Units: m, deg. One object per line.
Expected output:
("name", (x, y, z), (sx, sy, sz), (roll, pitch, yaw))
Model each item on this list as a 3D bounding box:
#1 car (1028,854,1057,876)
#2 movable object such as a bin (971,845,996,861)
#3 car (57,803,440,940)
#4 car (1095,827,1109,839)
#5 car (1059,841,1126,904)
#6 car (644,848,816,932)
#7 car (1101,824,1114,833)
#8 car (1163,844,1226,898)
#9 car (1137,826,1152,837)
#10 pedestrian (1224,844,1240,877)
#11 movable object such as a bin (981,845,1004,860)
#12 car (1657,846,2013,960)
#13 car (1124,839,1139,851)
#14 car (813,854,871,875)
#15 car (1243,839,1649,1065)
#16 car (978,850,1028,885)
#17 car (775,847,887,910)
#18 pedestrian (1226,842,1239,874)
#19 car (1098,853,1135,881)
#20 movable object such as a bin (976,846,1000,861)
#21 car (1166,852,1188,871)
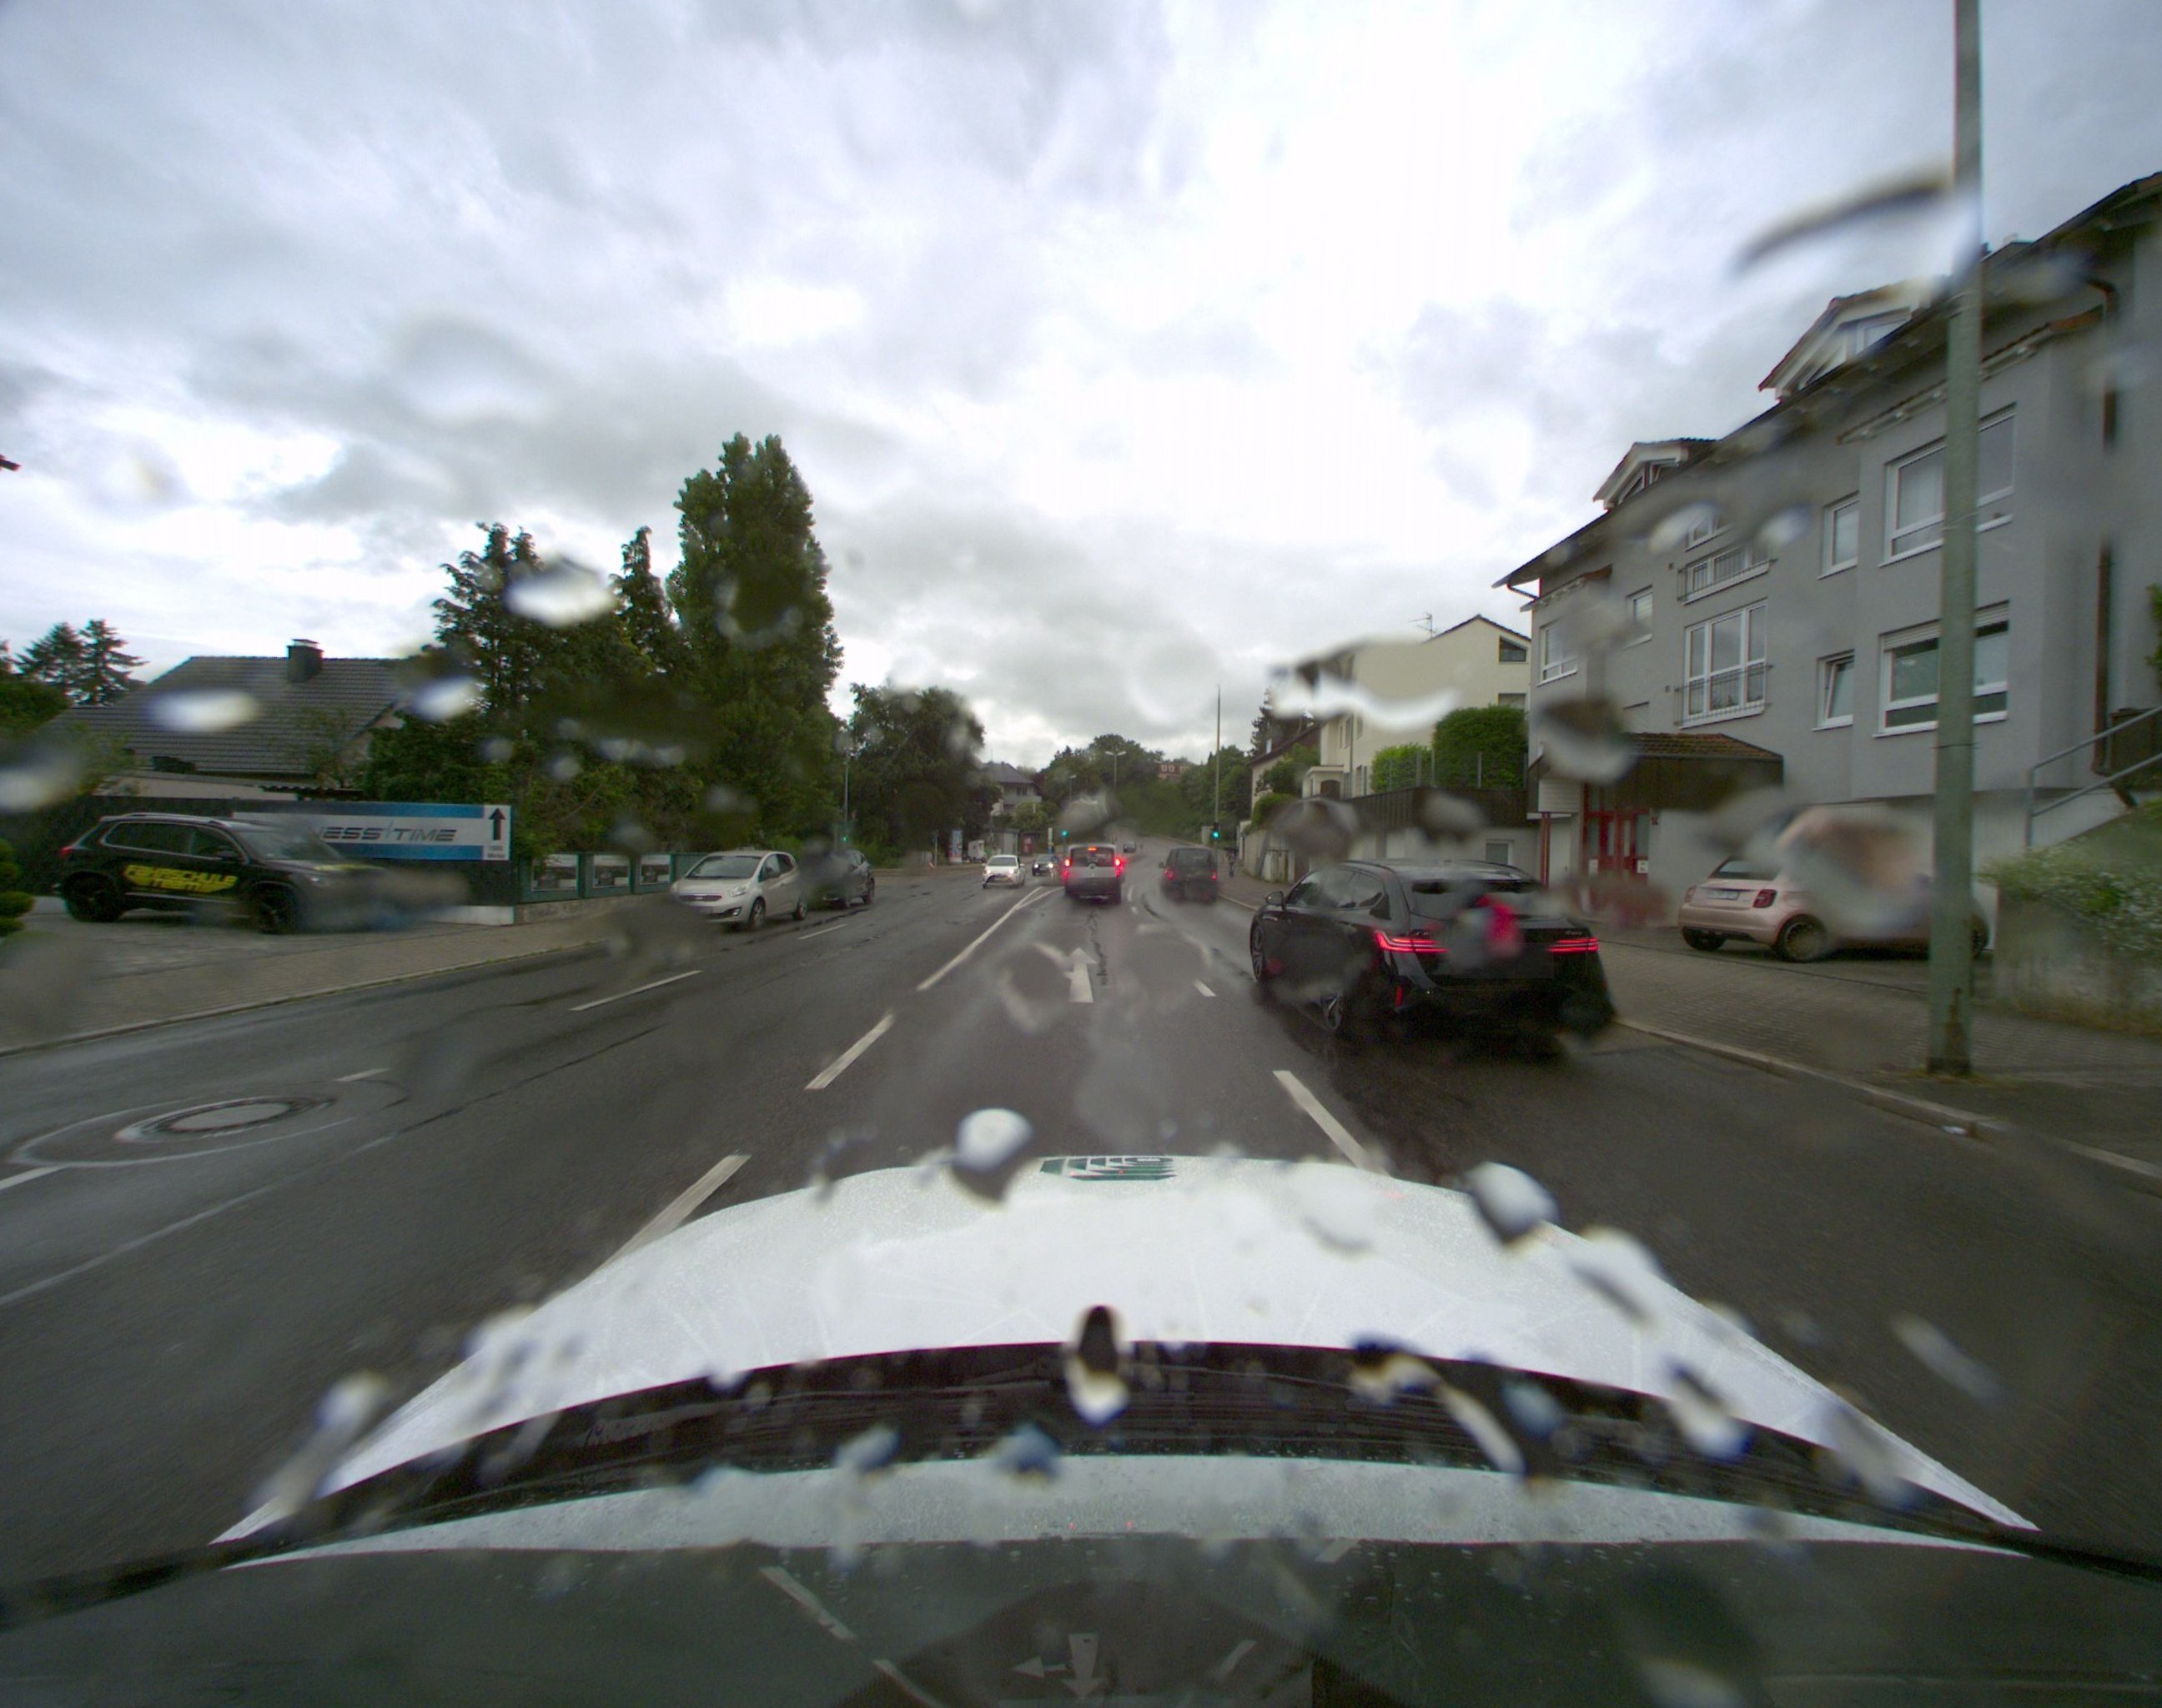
("car", (-2.685, 0.787, 57.677), (1.705, 1.502, 4.002), (0, 0, 2))
("movable object such as a bin", (-9.994, -0.064, 83.451), (2.044, 1.568, 1.587), (0, 2, 11))
("car", (-12.987, 0.253, 12.904), (4.166, 1.720, 1.740), (4, 0, 1))
("car", (3.778, -3.785, 147.414), (1.990, 2.013, 3.994), (-1, 0, -4))
("car", (0.473, 0.543, 26.700), (1.942, 1.871, 4.751), (-1, 0, 4))
("car", (-7.220, 0.684, 17.281), (1.798, 1.568, 4.143), (0, -1, 1))
("car", (5.278, -4.979, 160.385), (1.840, 1.552, 4.371), (-1, 0, -8))
("car", (3.963, 0.566, 28.987), (1.984, 1.748, 4.005), (-1, 0, 4))
("car", (12.108, -4.235, 154.745), (1.993, 2.013, 3.988), (-1, 0, -9))
("pedestrian", (8.490, 0.360, 45.928), (0.789, 1.780, 1.013), (-1, -1, 7))
("movable object such as a bin", (-9.387, -0.123, 86.464), (2.044, 1.514, 1.348), (0, 2, 11))
("car", (10.685, 0.656, 11.716), (3.625, 1.485, 1.810), (1, 0, -5))
("car", (6.905, -1.285, 112.018), (1.985, 1.574, 4.004), (0, -1, 4))
("car", (-18.285, 0.754, 62.313), (4.010, 1.530, 1.822), (-1, 0, -29))
("car", (3.094, 0.740, 8.173), (1.987, 1.586, 4.661), (1, -1, 0))
("car", (-3.558, 0.580, 37.693), (1.826, 1.530, 4.001), (-1, 0, 1))
("car", (-7.198, 0.674, 23.970), (1.798, 1.669, 4.598), (0, -1, 1))
("pedestrian", (9.500, 0.260, 51.126), (0.793, 2.014, 0.736), (0, 0, 6))
("car", (2.046, 0.718, 45.847), (1.825, 1.487, 4.066), (0, 0, 6))
("movable object such as a bin", (-9.690, -0.047, 85.027), (2.044, 1.568, 1.587), (0, 2, 11))
("car", (8.934, 0.675, 75.756), (1.843, 1.661, 4.005), (1, 2, 4))
